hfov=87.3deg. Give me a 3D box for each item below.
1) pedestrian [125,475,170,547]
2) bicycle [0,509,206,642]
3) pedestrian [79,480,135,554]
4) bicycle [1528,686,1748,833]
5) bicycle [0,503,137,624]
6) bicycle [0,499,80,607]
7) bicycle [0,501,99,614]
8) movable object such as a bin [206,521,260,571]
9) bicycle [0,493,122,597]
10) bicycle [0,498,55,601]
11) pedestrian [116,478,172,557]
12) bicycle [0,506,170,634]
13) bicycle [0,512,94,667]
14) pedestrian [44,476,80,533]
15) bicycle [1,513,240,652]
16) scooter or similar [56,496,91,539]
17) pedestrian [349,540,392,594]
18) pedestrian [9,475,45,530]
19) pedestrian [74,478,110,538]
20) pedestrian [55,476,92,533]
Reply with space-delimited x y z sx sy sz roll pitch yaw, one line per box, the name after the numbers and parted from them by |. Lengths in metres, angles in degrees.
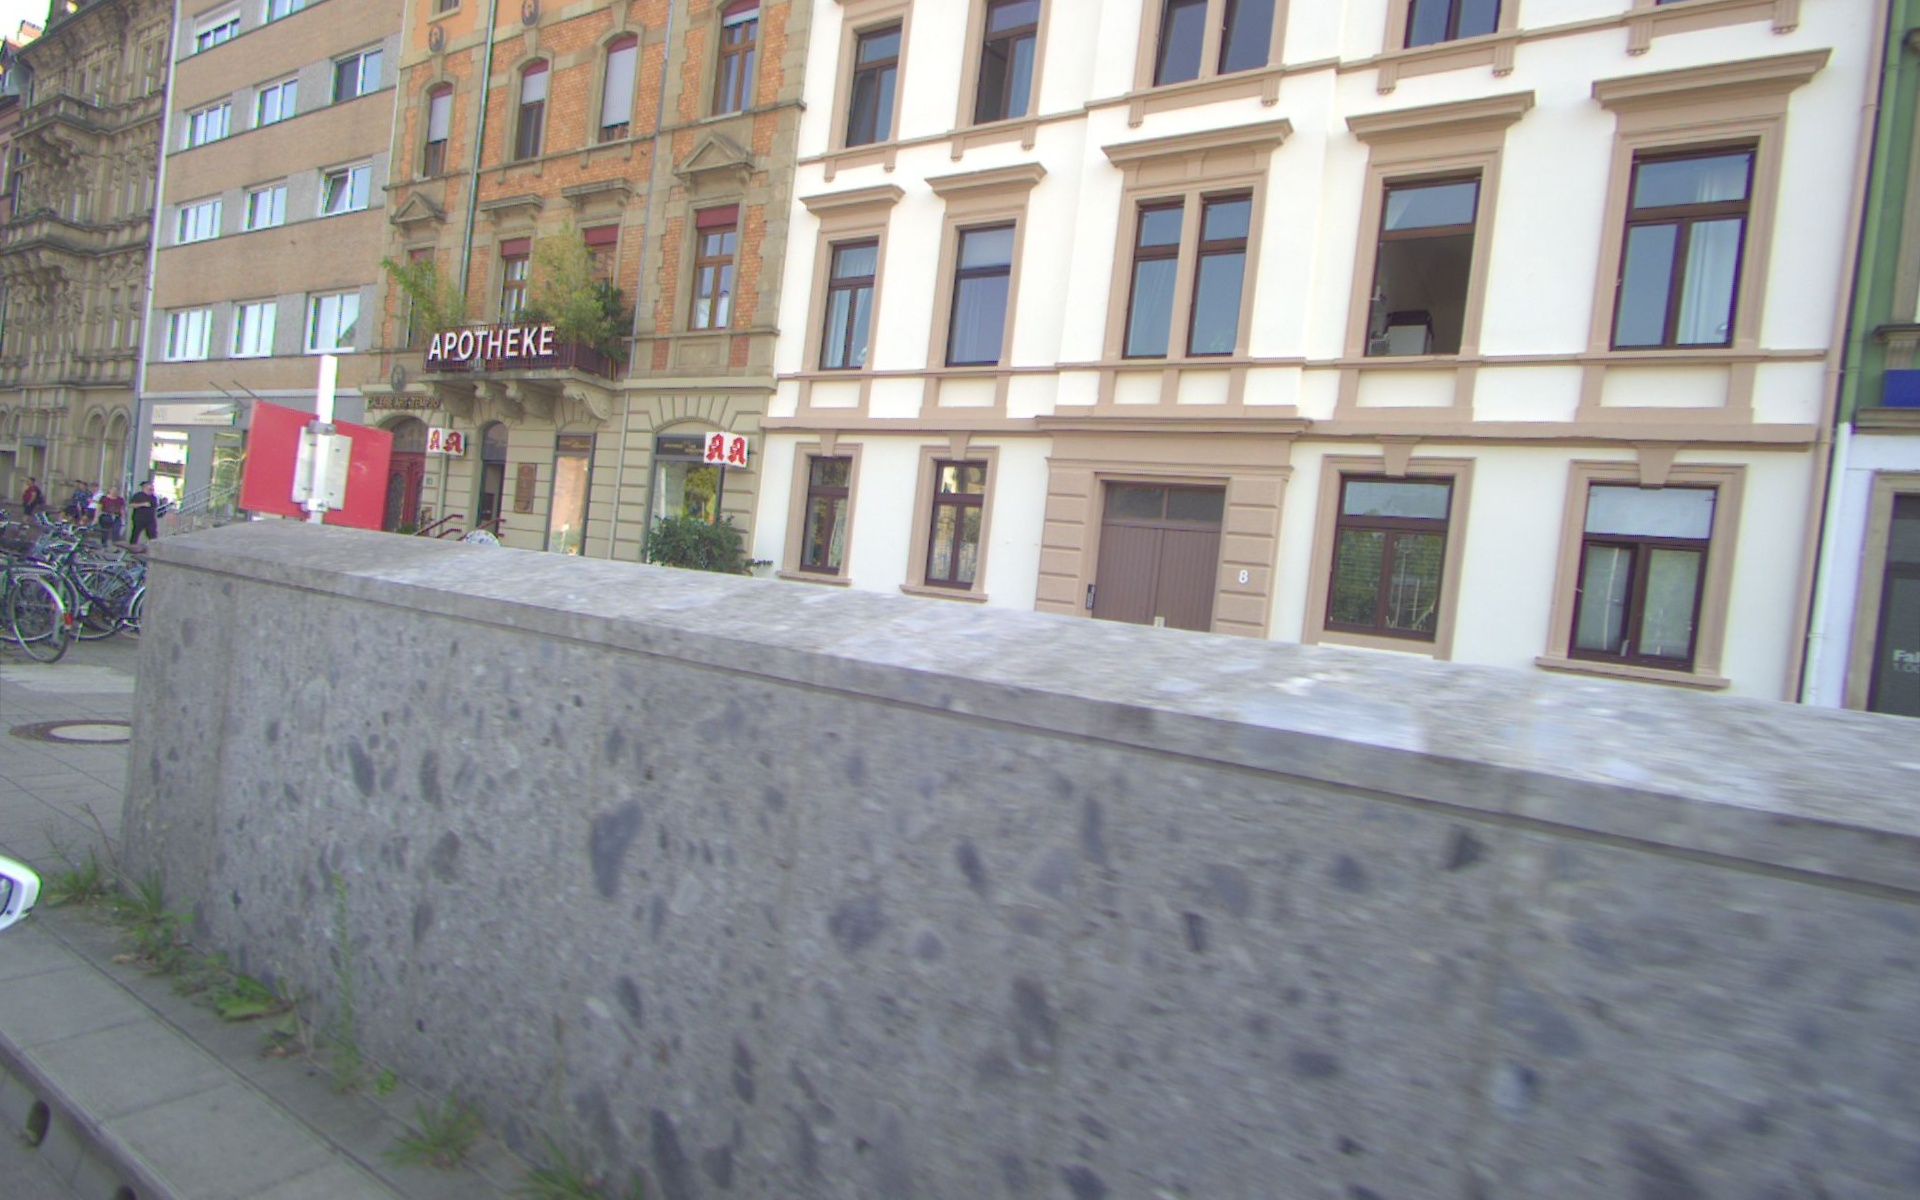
-22.515 -2.458 27.868 0.729 1.855 0.604 7 1 29 | pedestrian
-8.398 -0.203 9.778 0.378 1.163 1.636 7 1 27 | bicycle
-20.583 -1.999 24.273 0.842 1.630 0.720 7 1 33 | pedestrian
6.744 1.556 10.092 1.691 1.148 0.383 7 1 33 | bicycle
-9.627 -0.384 10.405 0.378 1.163 1.636 7 1 27 | bicycle
-10.866 -0.557 11.109 0.378 1.163 1.636 7 1 27 | bicycle
-10.361 -0.484 10.780 0.378 1.163 1.636 7 1 27 | bicycle
-17.896 -1.318 24.769 0.657 1.094 0.739 7 1 15 | movable object such as a bin
-11.524 -0.694 12.431 0.592 1.163 1.633 7 1 34 | bicycle
-11.460 -0.633 11.440 0.378 1.163 1.636 7 1 27 | bicycle
-20.169 -2.037 24.865 0.842 1.810 0.720 7 1 33 | pedestrian
-8.987 -0.284 10.054 0.378 1.163 1.636 7 1 27 | bicycle
-7.920 -0.127 8.377 1.627 1.163 0.408 7 1 26 | bicycle
-28.792 -3.068 32.255 0.577 1.713 0.604 7 1 29 | pedestrian
-7.826 -0.124 9.469 0.378 1.163 1.636 7 1 27 | bicycle
-26.726 -2.497 30.335 1.133 1.178 0.360 7 1 30 | scooter or similar
-11.922 -0.663 20.339 0.608 0.994 0.629 6 1 -38 | pedestrian
-30.649 -3.204 33.041 0.577 1.675 0.604 7 1 29 | pedestrian
-27.220 -2.877 31.544 0.502 1.753 0.604 7 1 29 | pedestrian
-28.171 -3.036 31.970 0.577 1.713 0.604 7 1 29 | pedestrian
